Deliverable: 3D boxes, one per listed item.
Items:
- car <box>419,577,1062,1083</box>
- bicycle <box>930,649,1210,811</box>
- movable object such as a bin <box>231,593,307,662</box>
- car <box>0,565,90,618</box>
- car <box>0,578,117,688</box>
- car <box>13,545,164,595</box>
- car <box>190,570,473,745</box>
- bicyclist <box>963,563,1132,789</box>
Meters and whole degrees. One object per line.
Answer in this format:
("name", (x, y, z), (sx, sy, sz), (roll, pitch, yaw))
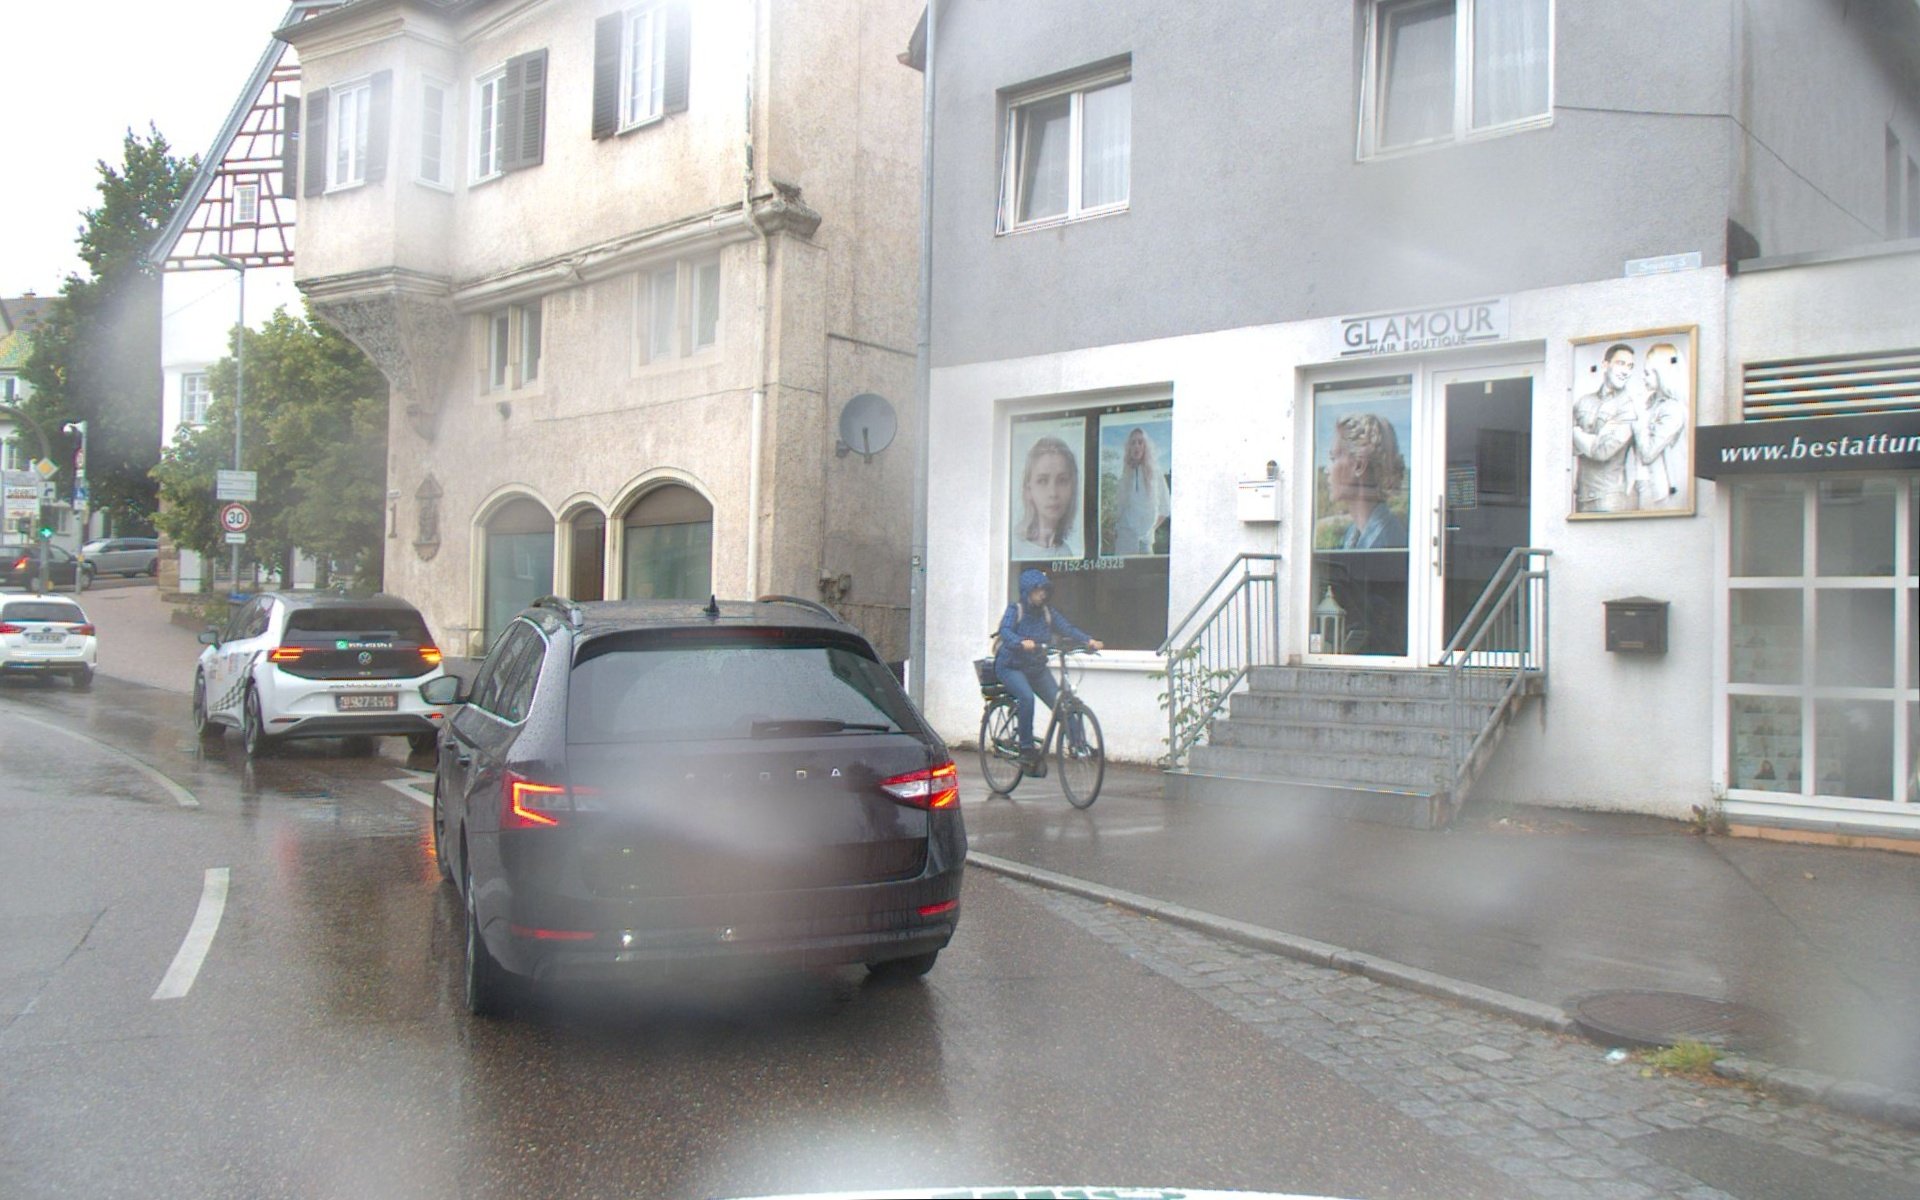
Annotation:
("car", (-1.290, 0.681, 7.250), (1.859, 1.473, 4.331), (2, 0, -20))
("bicycle", (0.745, 0.930, 11.798), (0.757, 1.053, 2.048), (6, -7, -42))
("movable object such as a bin", (-13.726, 0.540, 32.838), (1.145, 1.336, 1.172), (2, -1, -35))
("car", (-29.069, -0.223, 51.618), (1.549, 1.550, 3.435), (-2, -1, 12))
("car", (-15.553, 0.486, 27.393), (1.874, 1.624, 4.263), (2, 0, -40))
("car", (-31.700, -1.058, 60.277), (1.958, 1.619, 4.466), (1, -1, 33))
("car", (-6.446, 0.504, 16.701), (1.839, 1.498, 3.954), (2, 0, -33))
("bicyclist", (0.626, 0.516, 11.939), (0.679, 1.544, 1.015), (1, 0, -42))
